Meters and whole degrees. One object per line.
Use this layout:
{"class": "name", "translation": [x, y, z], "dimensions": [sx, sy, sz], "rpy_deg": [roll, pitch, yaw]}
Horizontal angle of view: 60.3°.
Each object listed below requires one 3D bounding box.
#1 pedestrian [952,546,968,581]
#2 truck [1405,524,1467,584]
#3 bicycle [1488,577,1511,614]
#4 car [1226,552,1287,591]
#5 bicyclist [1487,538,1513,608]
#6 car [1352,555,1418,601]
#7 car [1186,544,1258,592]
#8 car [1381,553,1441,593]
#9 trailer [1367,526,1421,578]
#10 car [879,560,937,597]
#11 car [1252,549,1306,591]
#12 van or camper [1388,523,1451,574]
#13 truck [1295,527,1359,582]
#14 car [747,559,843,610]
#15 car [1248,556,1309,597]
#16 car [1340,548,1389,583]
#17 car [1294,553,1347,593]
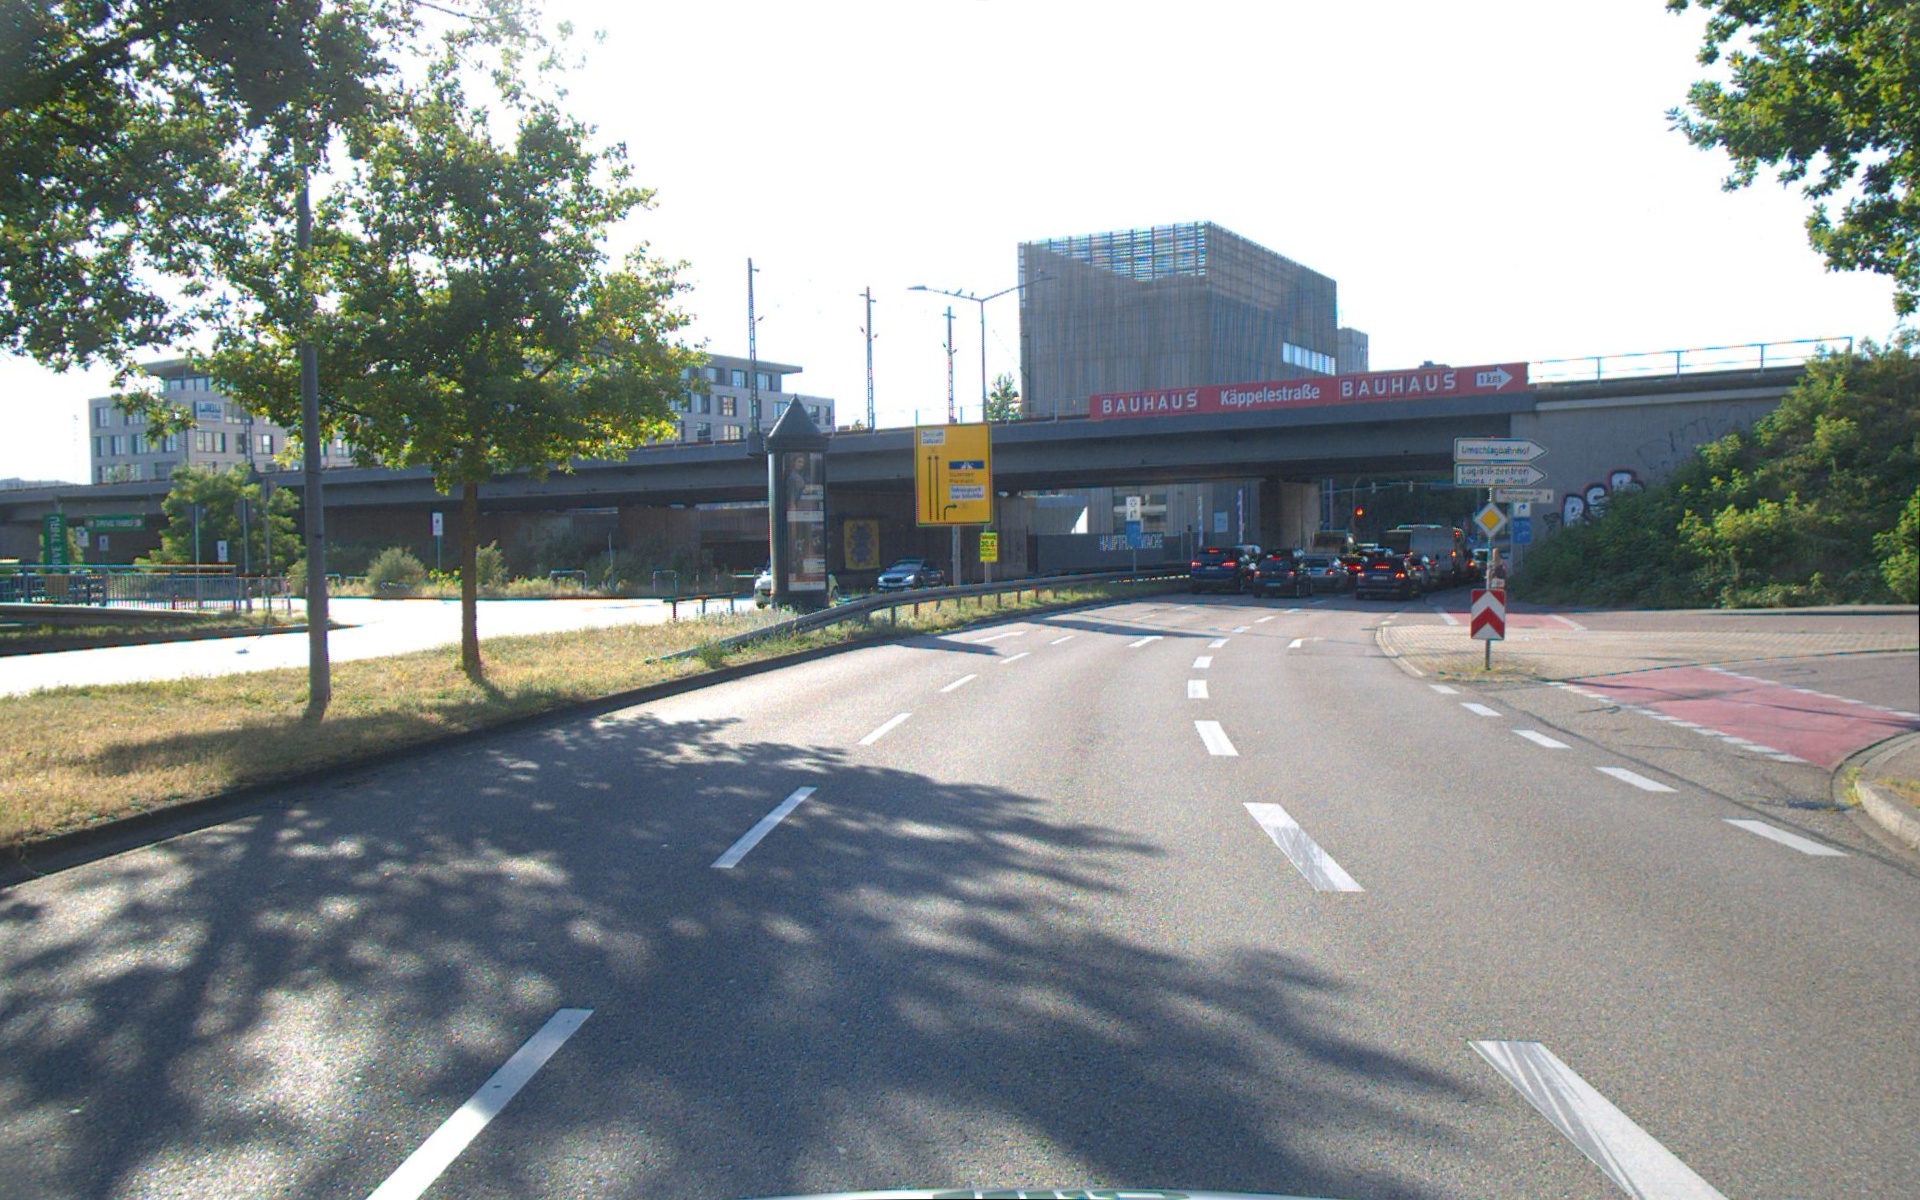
{"class": "pedestrian", "translation": [-0.002, -2.046, 92.279], "dimensions": [0.680, 1.936, 0.664], "rpy_deg": [0, 1, 27]}
{"class": "truck", "translation": [21.147, -2.032, 73.371], "dimensions": [2.069, 2.563, 4.400], "rpy_deg": [1, 2, 23]}
{"class": "bicycle", "translation": [15.189, -0.139, 46.536], "dimensions": [0.566, 0.980, 2.887], "rpy_deg": [0, 1, 19]}
{"class": "car", "translation": [12.560, -1.212, 69.916], "dimensions": [1.803, 1.465, 3.676], "rpy_deg": [-3, 0, 21]}
{"class": "bicyclist", "translation": [15.236, -0.762, 46.653], "dimensions": [0.668, 1.940, 0.833], "rpy_deg": [0, 1, 20]}
{"class": "car", "translation": [15.192, -0.820, 59.021], "dimensions": [1.705, 1.479, 4.607], "rpy_deg": [0, 3, 22]}
{"class": "car", "translation": [10.120, -1.244, 63.585], "dimensions": [1.792, 1.769, 4.461], "rpy_deg": [0, 1, 22]}
{"class": "car", "translation": [18.092, -1.096, 66.240], "dimensions": [1.737, 1.521, 3.830], "rpy_deg": [-1, 1, 24]}
{"class": "trailer", "translation": [21.757, -2.386, 82.820], "dimensions": [1.827, 2.508, 3.829], "rpy_deg": [-1, 1, 26]}
{"class": "car", "translation": [-2.130, -0.887, 69.045], "dimensions": [1.636, 1.488, 4.109], "rpy_deg": [0, 1, 10]}
{"class": "car", "translation": [14.631, -1.375, 75.770], "dimensions": [1.803, 1.749, 4.002], "rpy_deg": [-3, 0, 19]}
{"class": "van or camper", "translation": [24.400, -2.709, 87.638], "dimensions": [1.955, 2.615, 5.909], "rpy_deg": [0, 1, 28]}
{"class": "truck", "translation": [18.238, -2.247, 81.998], "dimensions": [1.988, 2.601, 5.534], "rpy_deg": [0, 1, 25]}
{"class": "car", "translation": [-5.051, -0.480, 51.149], "dimensions": [1.703, 1.488, 3.769], "rpy_deg": [-1, 0, 16]}
{"class": "car", "translation": [11.589, -0.870, 60.013], "dimensions": [1.549, 1.433, 3.833], "rpy_deg": [1, 1, 20]}
{"class": "car", "translation": [18.853, -1.606, 76.985], "dimensions": [1.550, 1.559, 3.830], "rpy_deg": [1, 1, 24]}
{"class": "car", "translation": [14.212, -1.083, 65.082], "dimensions": [1.515, 1.447, 3.418], "rpy_deg": [-3, 1, 21]}
